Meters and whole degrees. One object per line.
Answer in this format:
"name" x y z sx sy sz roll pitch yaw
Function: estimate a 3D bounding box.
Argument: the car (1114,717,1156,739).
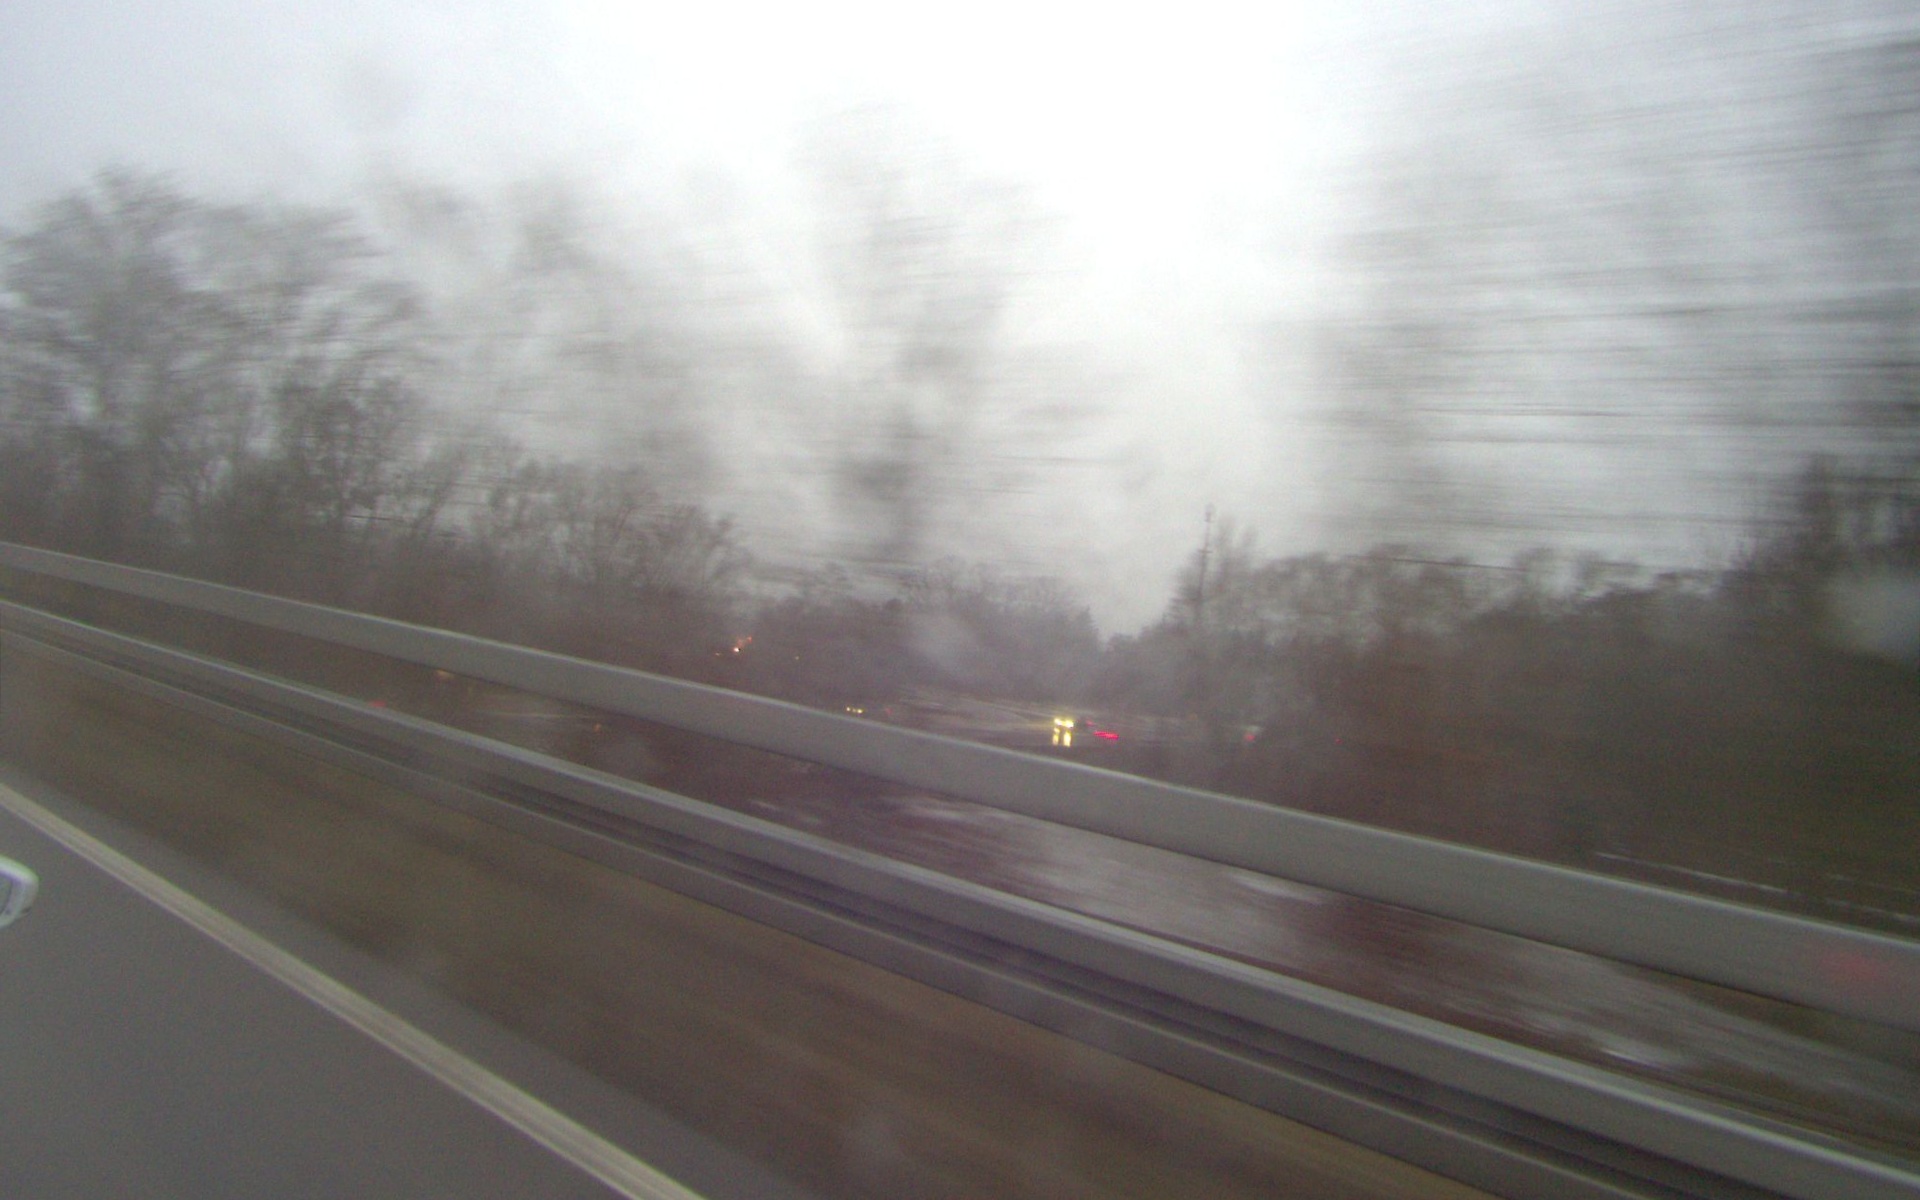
"car" 20.488 14.940 117.459 1.973 2.036 5.690 7 -3 42
